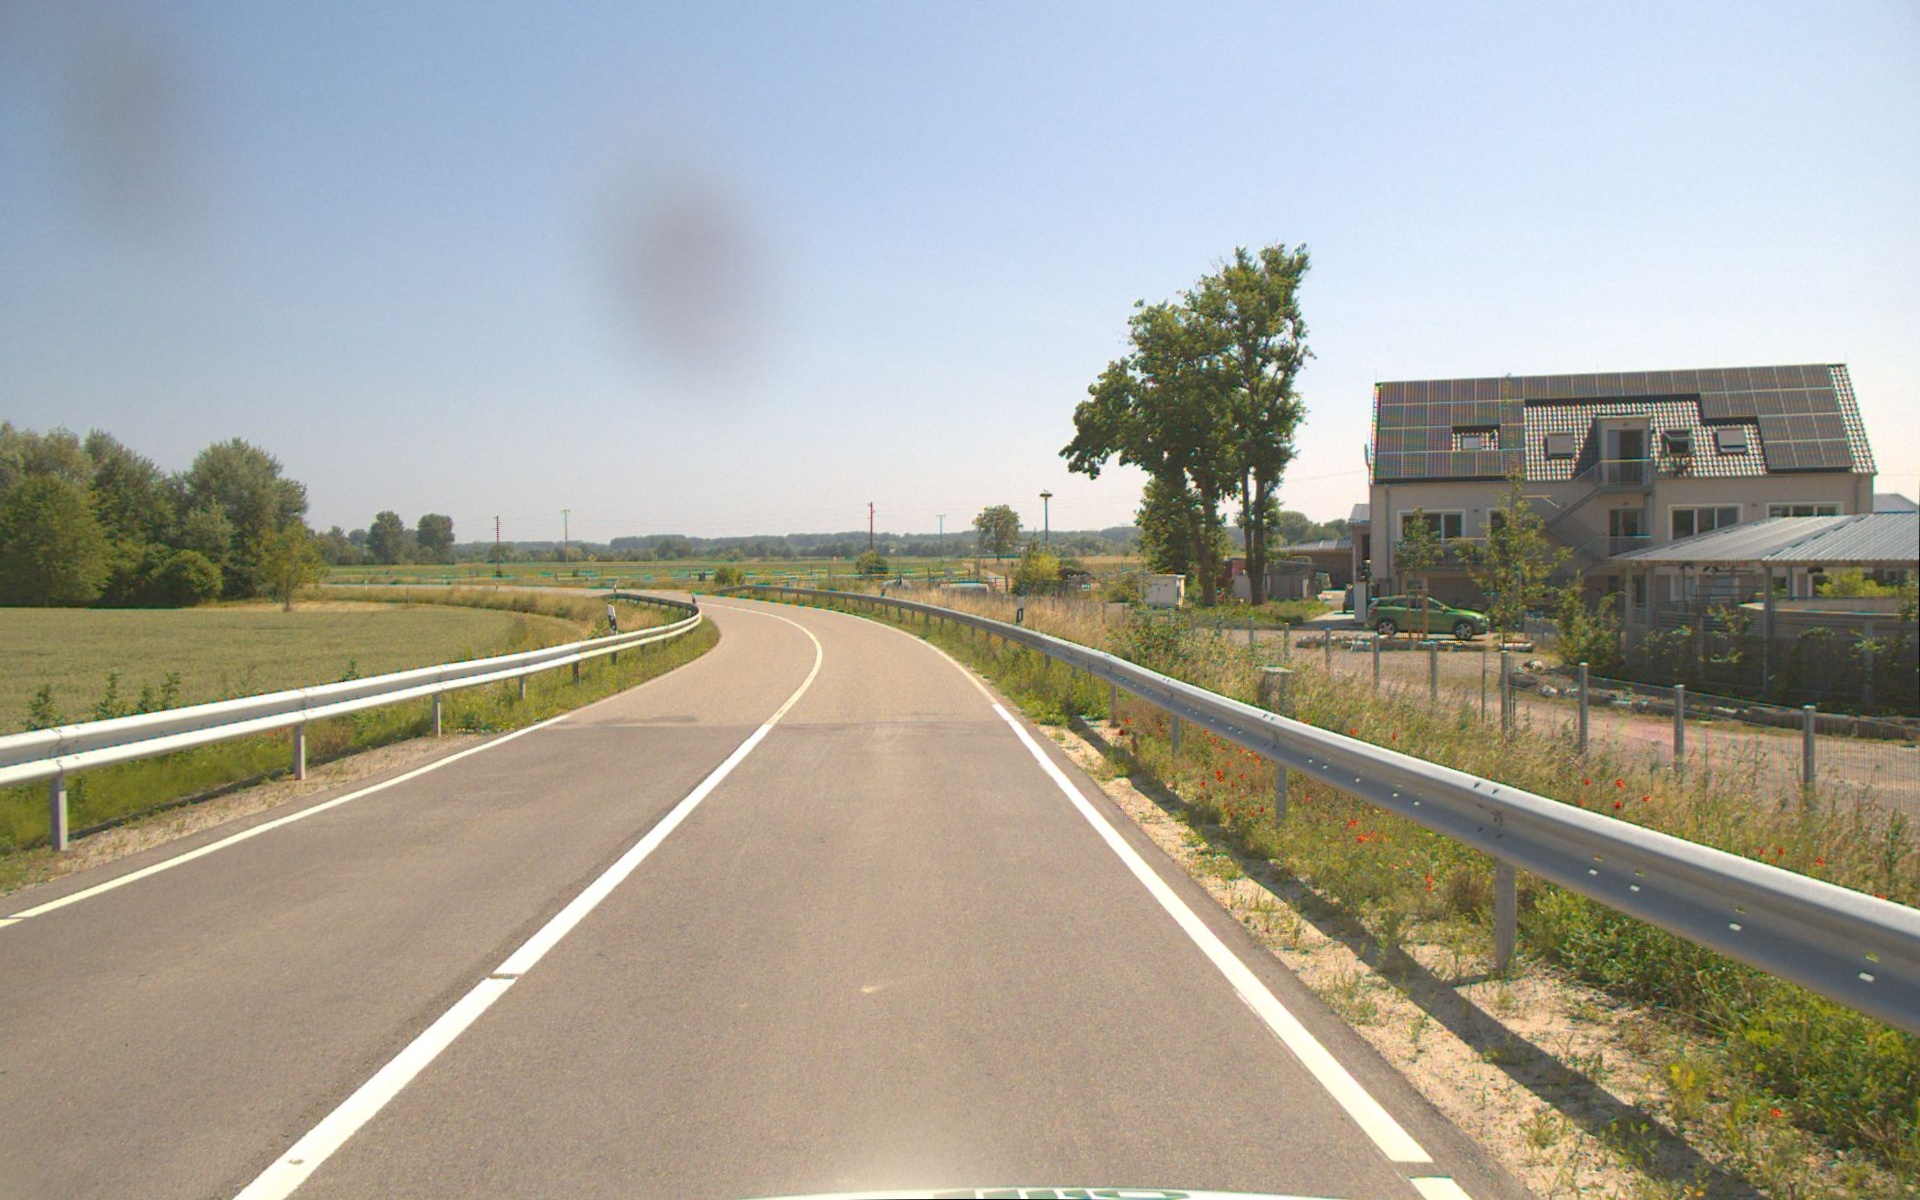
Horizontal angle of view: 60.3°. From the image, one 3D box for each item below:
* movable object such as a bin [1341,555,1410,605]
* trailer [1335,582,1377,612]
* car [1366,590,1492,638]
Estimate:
[{"bbox_3d":[24.541,-1.217,97.988,2.939,2.818,6.510,1,2,5],"label":"movable object such as a bin"},{"bbox_3d":[20.753,-0.161,86.711,1.676,1.522,3.140,0,-1,22],"label":"trailer"},{"bbox_3d":[16.852,0.496,59.368,4.268,1.608,1.934,1,0,18],"label":"car"}]
